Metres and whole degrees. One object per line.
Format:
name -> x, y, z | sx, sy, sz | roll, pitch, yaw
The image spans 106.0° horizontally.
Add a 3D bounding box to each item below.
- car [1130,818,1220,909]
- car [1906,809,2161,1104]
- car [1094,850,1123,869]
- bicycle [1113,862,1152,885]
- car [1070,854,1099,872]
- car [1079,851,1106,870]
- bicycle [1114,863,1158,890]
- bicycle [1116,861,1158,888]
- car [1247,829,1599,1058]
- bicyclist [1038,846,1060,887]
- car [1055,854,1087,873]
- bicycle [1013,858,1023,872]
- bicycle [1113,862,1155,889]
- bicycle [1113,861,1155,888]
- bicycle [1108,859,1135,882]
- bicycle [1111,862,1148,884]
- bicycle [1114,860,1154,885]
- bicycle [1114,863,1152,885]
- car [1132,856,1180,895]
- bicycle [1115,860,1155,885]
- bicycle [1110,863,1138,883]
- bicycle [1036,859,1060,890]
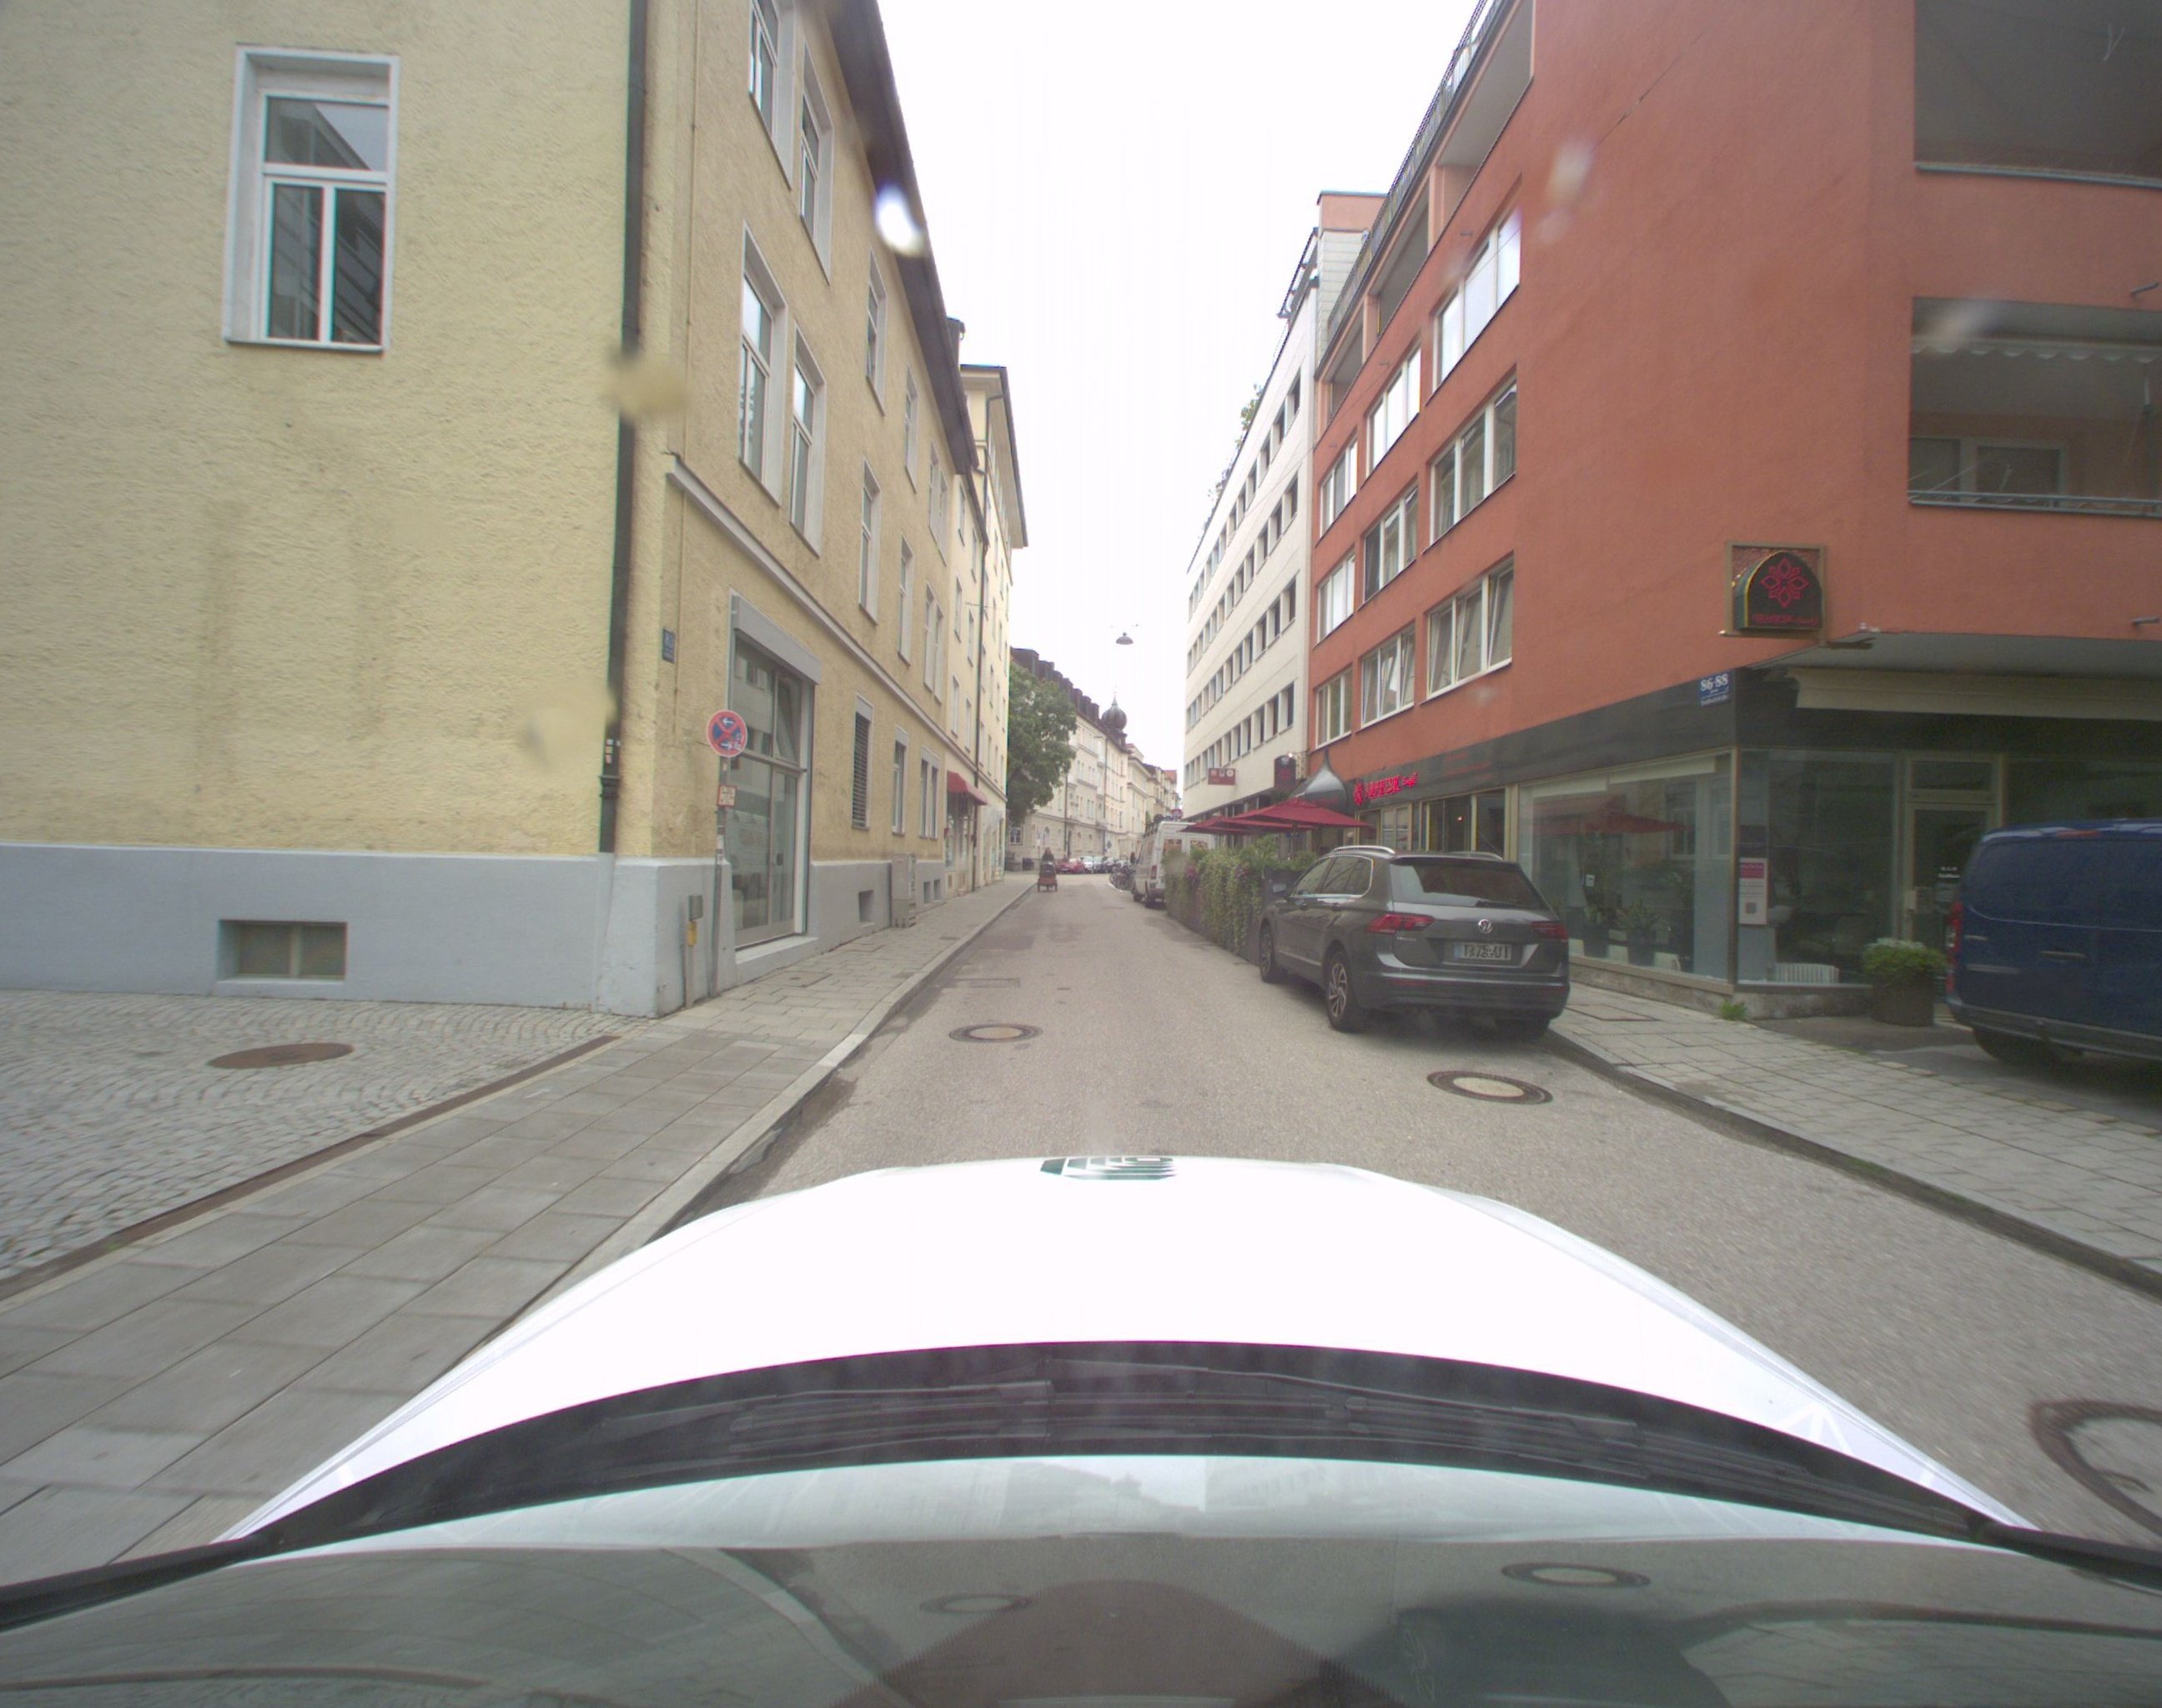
car -> 2.838, 0.275, 26.010 | 1.915, 2.506, 5.993 | 2, 0, -2
car -> 8.514, 0.622, 5.353 | 4.449, 1.720, 1.839 | 1, 0, -2
car -> 2.791, 0.577, 80.859 | 1.980, 1.738, 4.538 | 2, 0, 14
bicycle -> 2.534, 0.951, 40.384 | 1.870, 1.095, 0.439 | 1, 1, -5
car -> 0.355, 0.798, 70.790 | 1.983, 1.473, 4.227 | 1, 0, 7
car -> 1.106, 0.587, 75.389 | 1.931, 1.702, 4.010 | 2, 0, 9
bicycle -> 2.464, 1.025, 36.436 | 1.869, 1.079, 0.488 | 3, 1, -4
bicycle -> 2.656, 0.982, 38.484 | 1.869, 1.157, 0.564 | 3, 1, -4
car -> 3.102, 0.702, 8.511 | 1.818, 1.710, 4.389 | 2, 0, 0
bicyclist -> -1.385, 0.541, 35.240 | 0.923, 1.721, 1.099 | 0, 0, 0
car -> -0.778, 0.770, 65.549 | 1.719, 1.378, 4.239 | 1, 0, 11
bicycle -> -5.014, 0.843, 64.429 | 0.491, 1.052, 1.829 | 1, 2, 4
bicycle -> 2.422, 0.988, 37.276 | 1.869, 1.108, 0.488 | 3, 1, -4
bicycle -> 2.443, 0.936, 37.797 | 1.869, 1.204, 0.488 | 1, 1, -4
bicycle -> 2.282, 0.924, 45.705 | 1.452, 1.285, 0.445 | 2, 0, 0
bicycle -> 2.529, 0.983, 42.223 | 1.870, 1.079, 0.408 | 1, 1, -5
bicycle -> 2.603, 0.890, 39.816 | 1.889, 1.170, 0.565 | 1, 0, -4
bicycle -> 2.620, 1.026, 41.088 | 1.870, 1.052, 0.563 | 1, -2, -5
car -> 2.980, 0.821, 32.961 | 1.575, 1.464, 3.551 | 1, 0, 0
bicycle -> 2.580, 0.883, 39.215 | 1.869, 1.204, 0.579 | 0, 0, -4
bicycle -> 2.349, 1.038, 44.692 | 1.450, 1.069, 0.462 | 2, 0, -9
bicycle -> -1.379, 0.863, 34.854 | 0.929, 1.257, 2.413 | 0, -1, 0
